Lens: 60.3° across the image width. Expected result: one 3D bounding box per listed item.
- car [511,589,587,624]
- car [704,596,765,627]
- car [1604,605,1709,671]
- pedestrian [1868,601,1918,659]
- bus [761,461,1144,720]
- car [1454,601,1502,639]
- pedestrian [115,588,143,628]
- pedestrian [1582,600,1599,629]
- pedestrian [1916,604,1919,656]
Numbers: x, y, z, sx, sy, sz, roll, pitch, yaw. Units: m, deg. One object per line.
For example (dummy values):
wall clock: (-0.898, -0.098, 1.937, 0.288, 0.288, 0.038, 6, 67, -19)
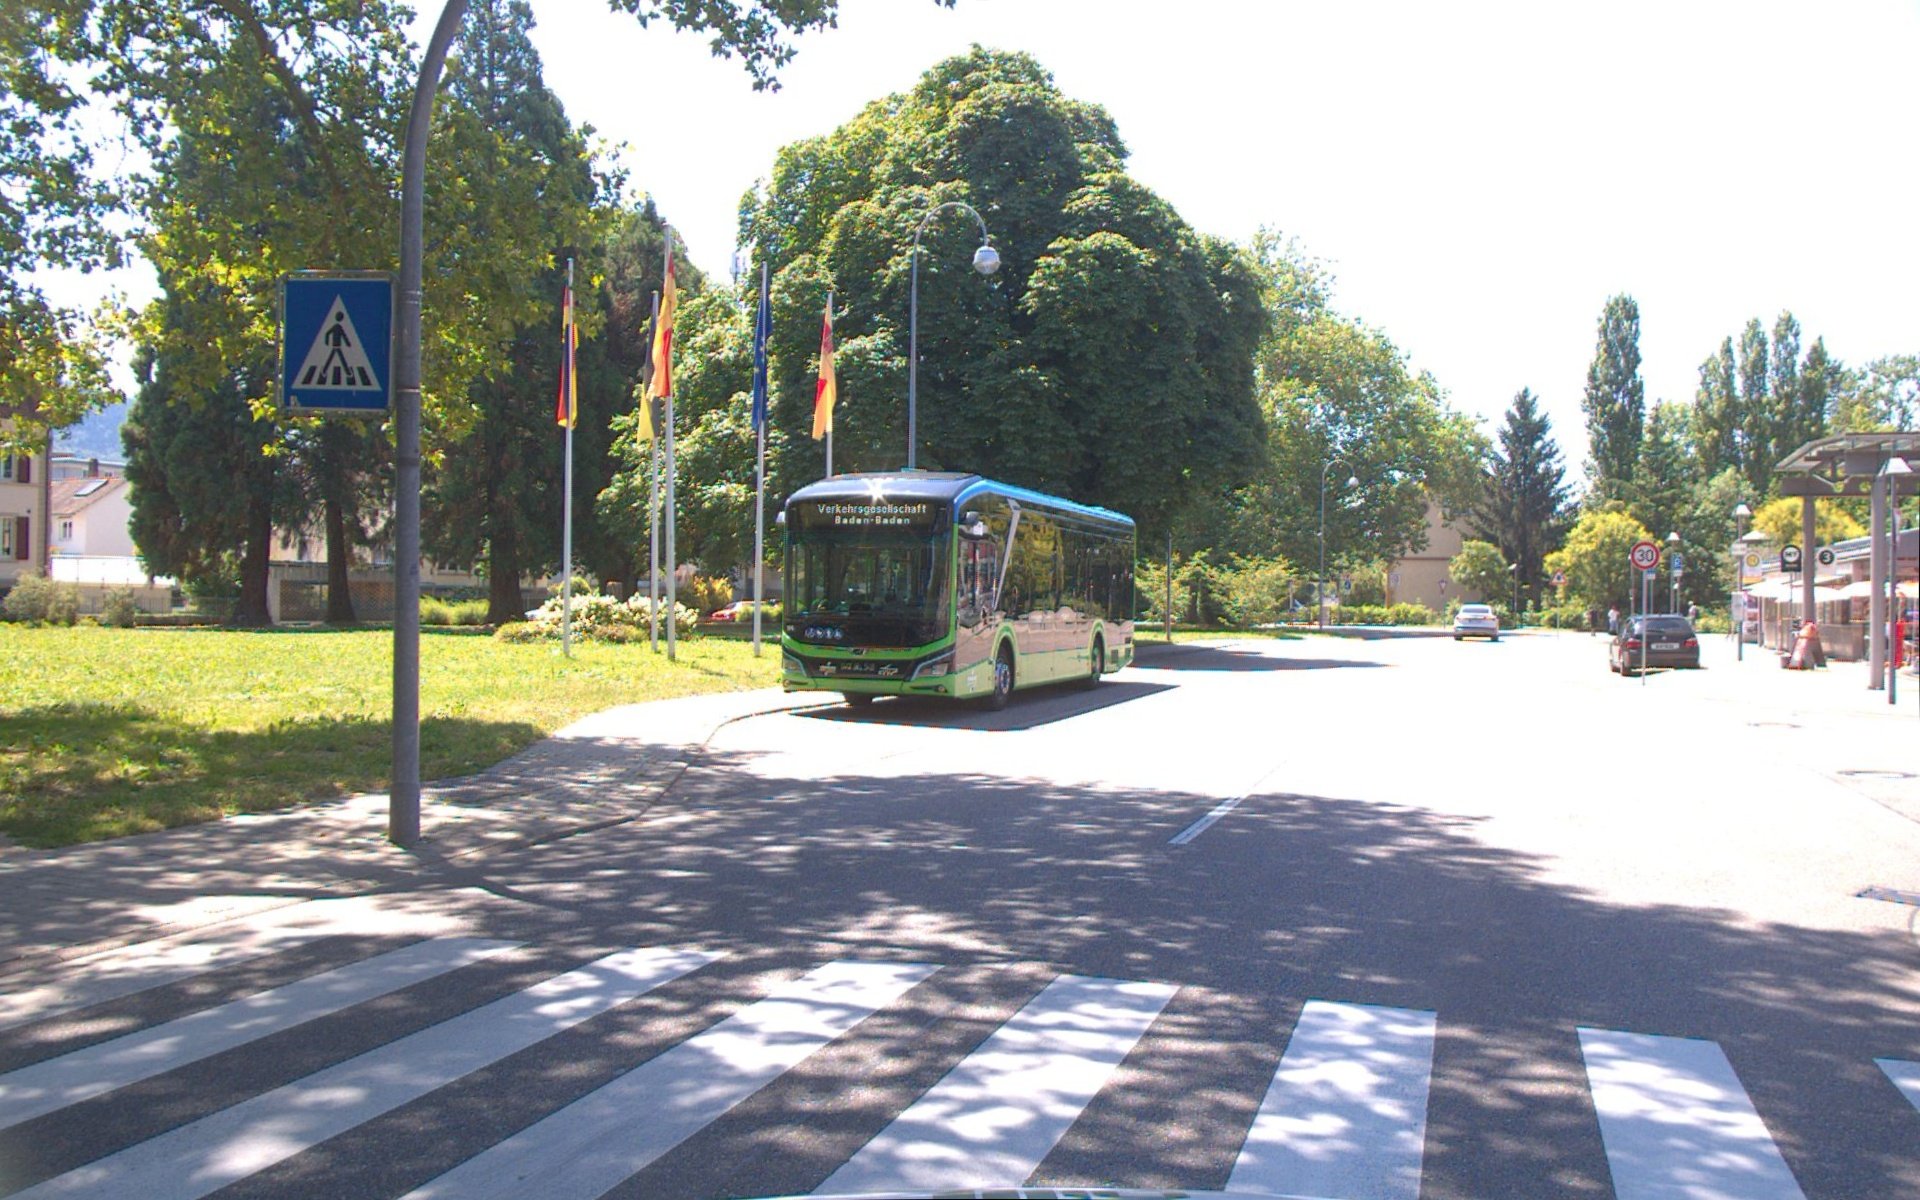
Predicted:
car: (-22.977, 0.392, 92.633, 1.835, 1.782, 3.993, 3, 0, 28)
car: (-14.520, 0.766, 106.553, 1.835, 1.870, 3.993, 3, 0, 28)
car: (17.404, 0.911, 41.501, 1.886, 1.486, 4.727, -2, -1, 17)
pedestrian: (23.558, 0.755, 41.762, 0.879, 1.442, 0.684, 1, 0, -20)
bus: (0.514, -0.158, 27.660, 2.750, 3.340, 12.431, 1, 0, 17)
car: (24.136, 0.911, 76.974, 1.941, 1.655, 4.780, 0, 0, 19)
pedestrian: (-30.383, 0.284, 60.472, 0.813, 1.394, 0.614, 3, 0, -23)
pedestrian: (36.297, 0.832, 95.185, 0.745, 1.678, 0.627, 4, -2, -44)
pedestrian: (25.389, 0.787, 42.837, 0.878, 1.335, 0.685, 1, 0, -17)
